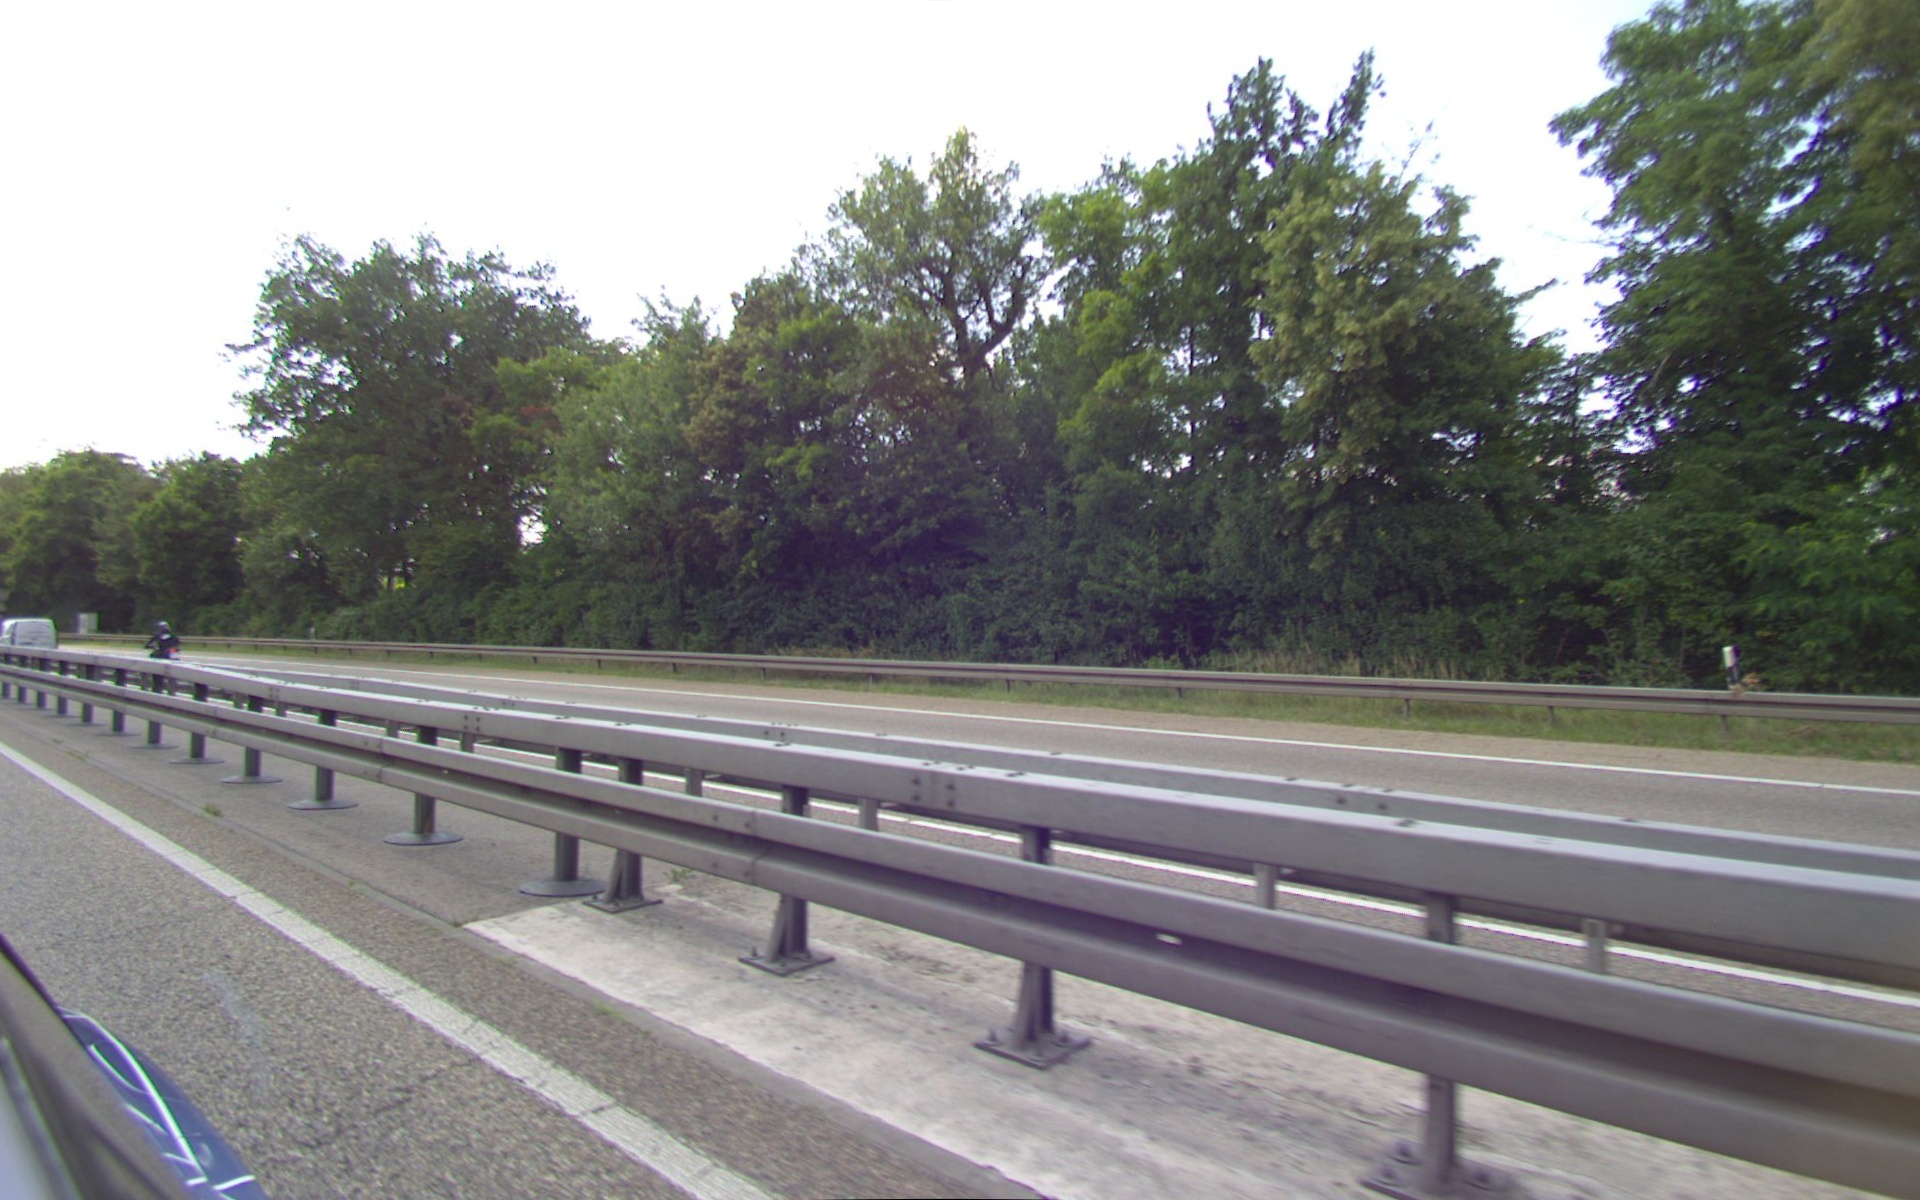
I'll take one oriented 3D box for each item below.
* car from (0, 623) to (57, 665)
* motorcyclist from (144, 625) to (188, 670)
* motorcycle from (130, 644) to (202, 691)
[{"bbox_3d":[-43.496,1.997,46.749,5.473,1.832,1.826,-1,-2,40],"label":"car"},{"bbox_3d":[-21.999,1.309,28.038,0.719,1.235,0.817,-1,-2,40],"label":"motorcyclist"},{"bbox_3d":[-22.153,1.857,28.214,2.995,1.210,0.989,-1,-2,40],"label":"motorcycle"}]
